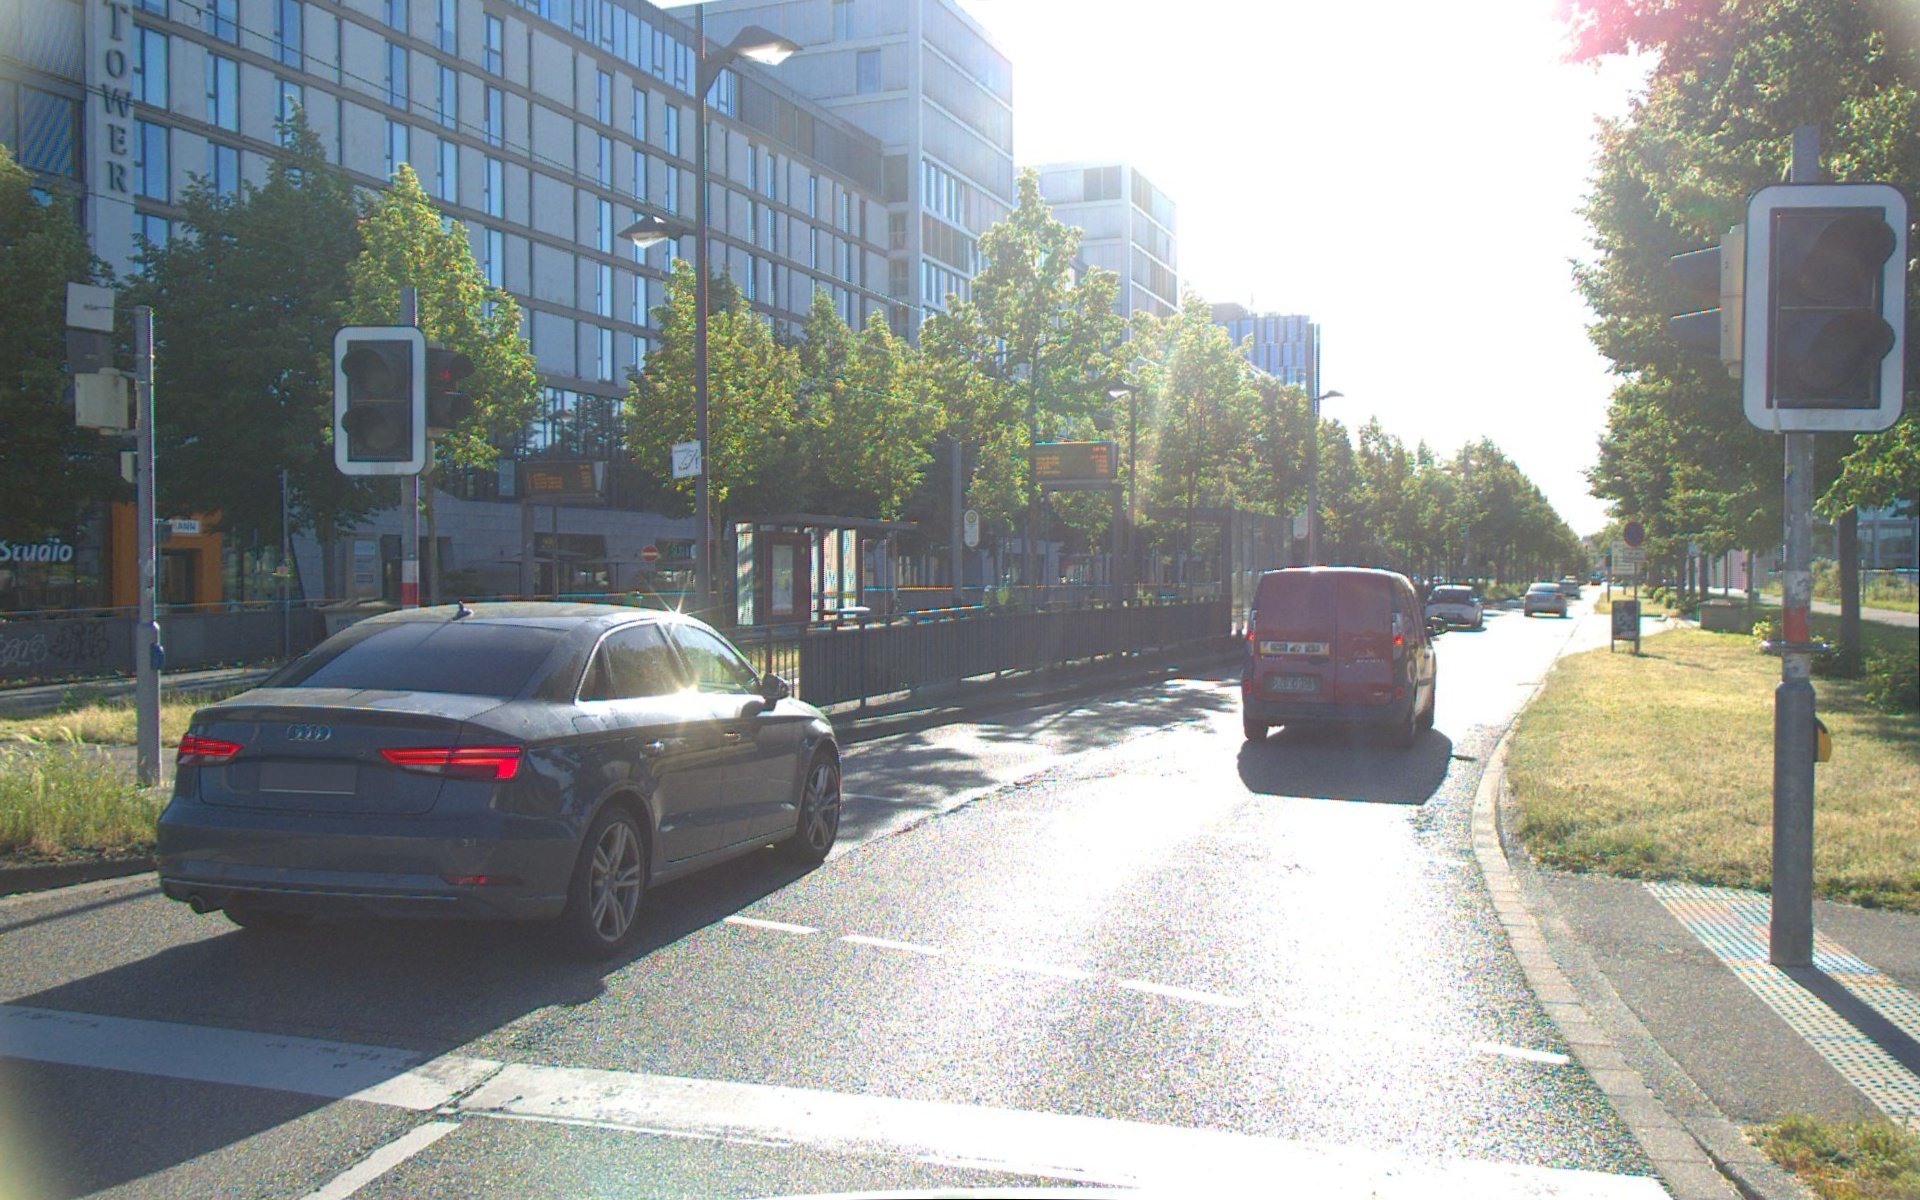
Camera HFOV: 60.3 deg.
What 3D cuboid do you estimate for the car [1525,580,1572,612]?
[{"bbox_3d":[26.505,-0.182,74.484,1.902,1.371,4.001,1,0,20],"label":"car"}]

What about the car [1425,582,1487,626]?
[{"bbox_3d":[17.398,0.116,57.909,1.902,1.466,4.001,0,0,20],"label":"car"}]

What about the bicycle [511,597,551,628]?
[{"bbox_3d":[-16.694,0.490,64.377,0.717,1.139,1.570,1,1,23],"label":"bicycle"}]

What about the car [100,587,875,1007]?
[{"bbox_3d":[-1.838,0.695,7.922,1.684,1.390,4.149,2,0,14],"label":"car"}]

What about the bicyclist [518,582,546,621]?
[{"bbox_3d":[-16.668,0.067,64.399,0.705,1.489,0.832,1,1,22],"label":"bicyclist"}]

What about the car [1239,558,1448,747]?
[{"bbox_3d":[4.301,0.517,18.118,1.760,1.808,4.001,1,0,20],"label":"car"}]

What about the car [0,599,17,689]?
[{"bbox_3d":[-16.515,0.669,25.095,1.625,1.420,3.612,1,0,21],"label":"car"}]
